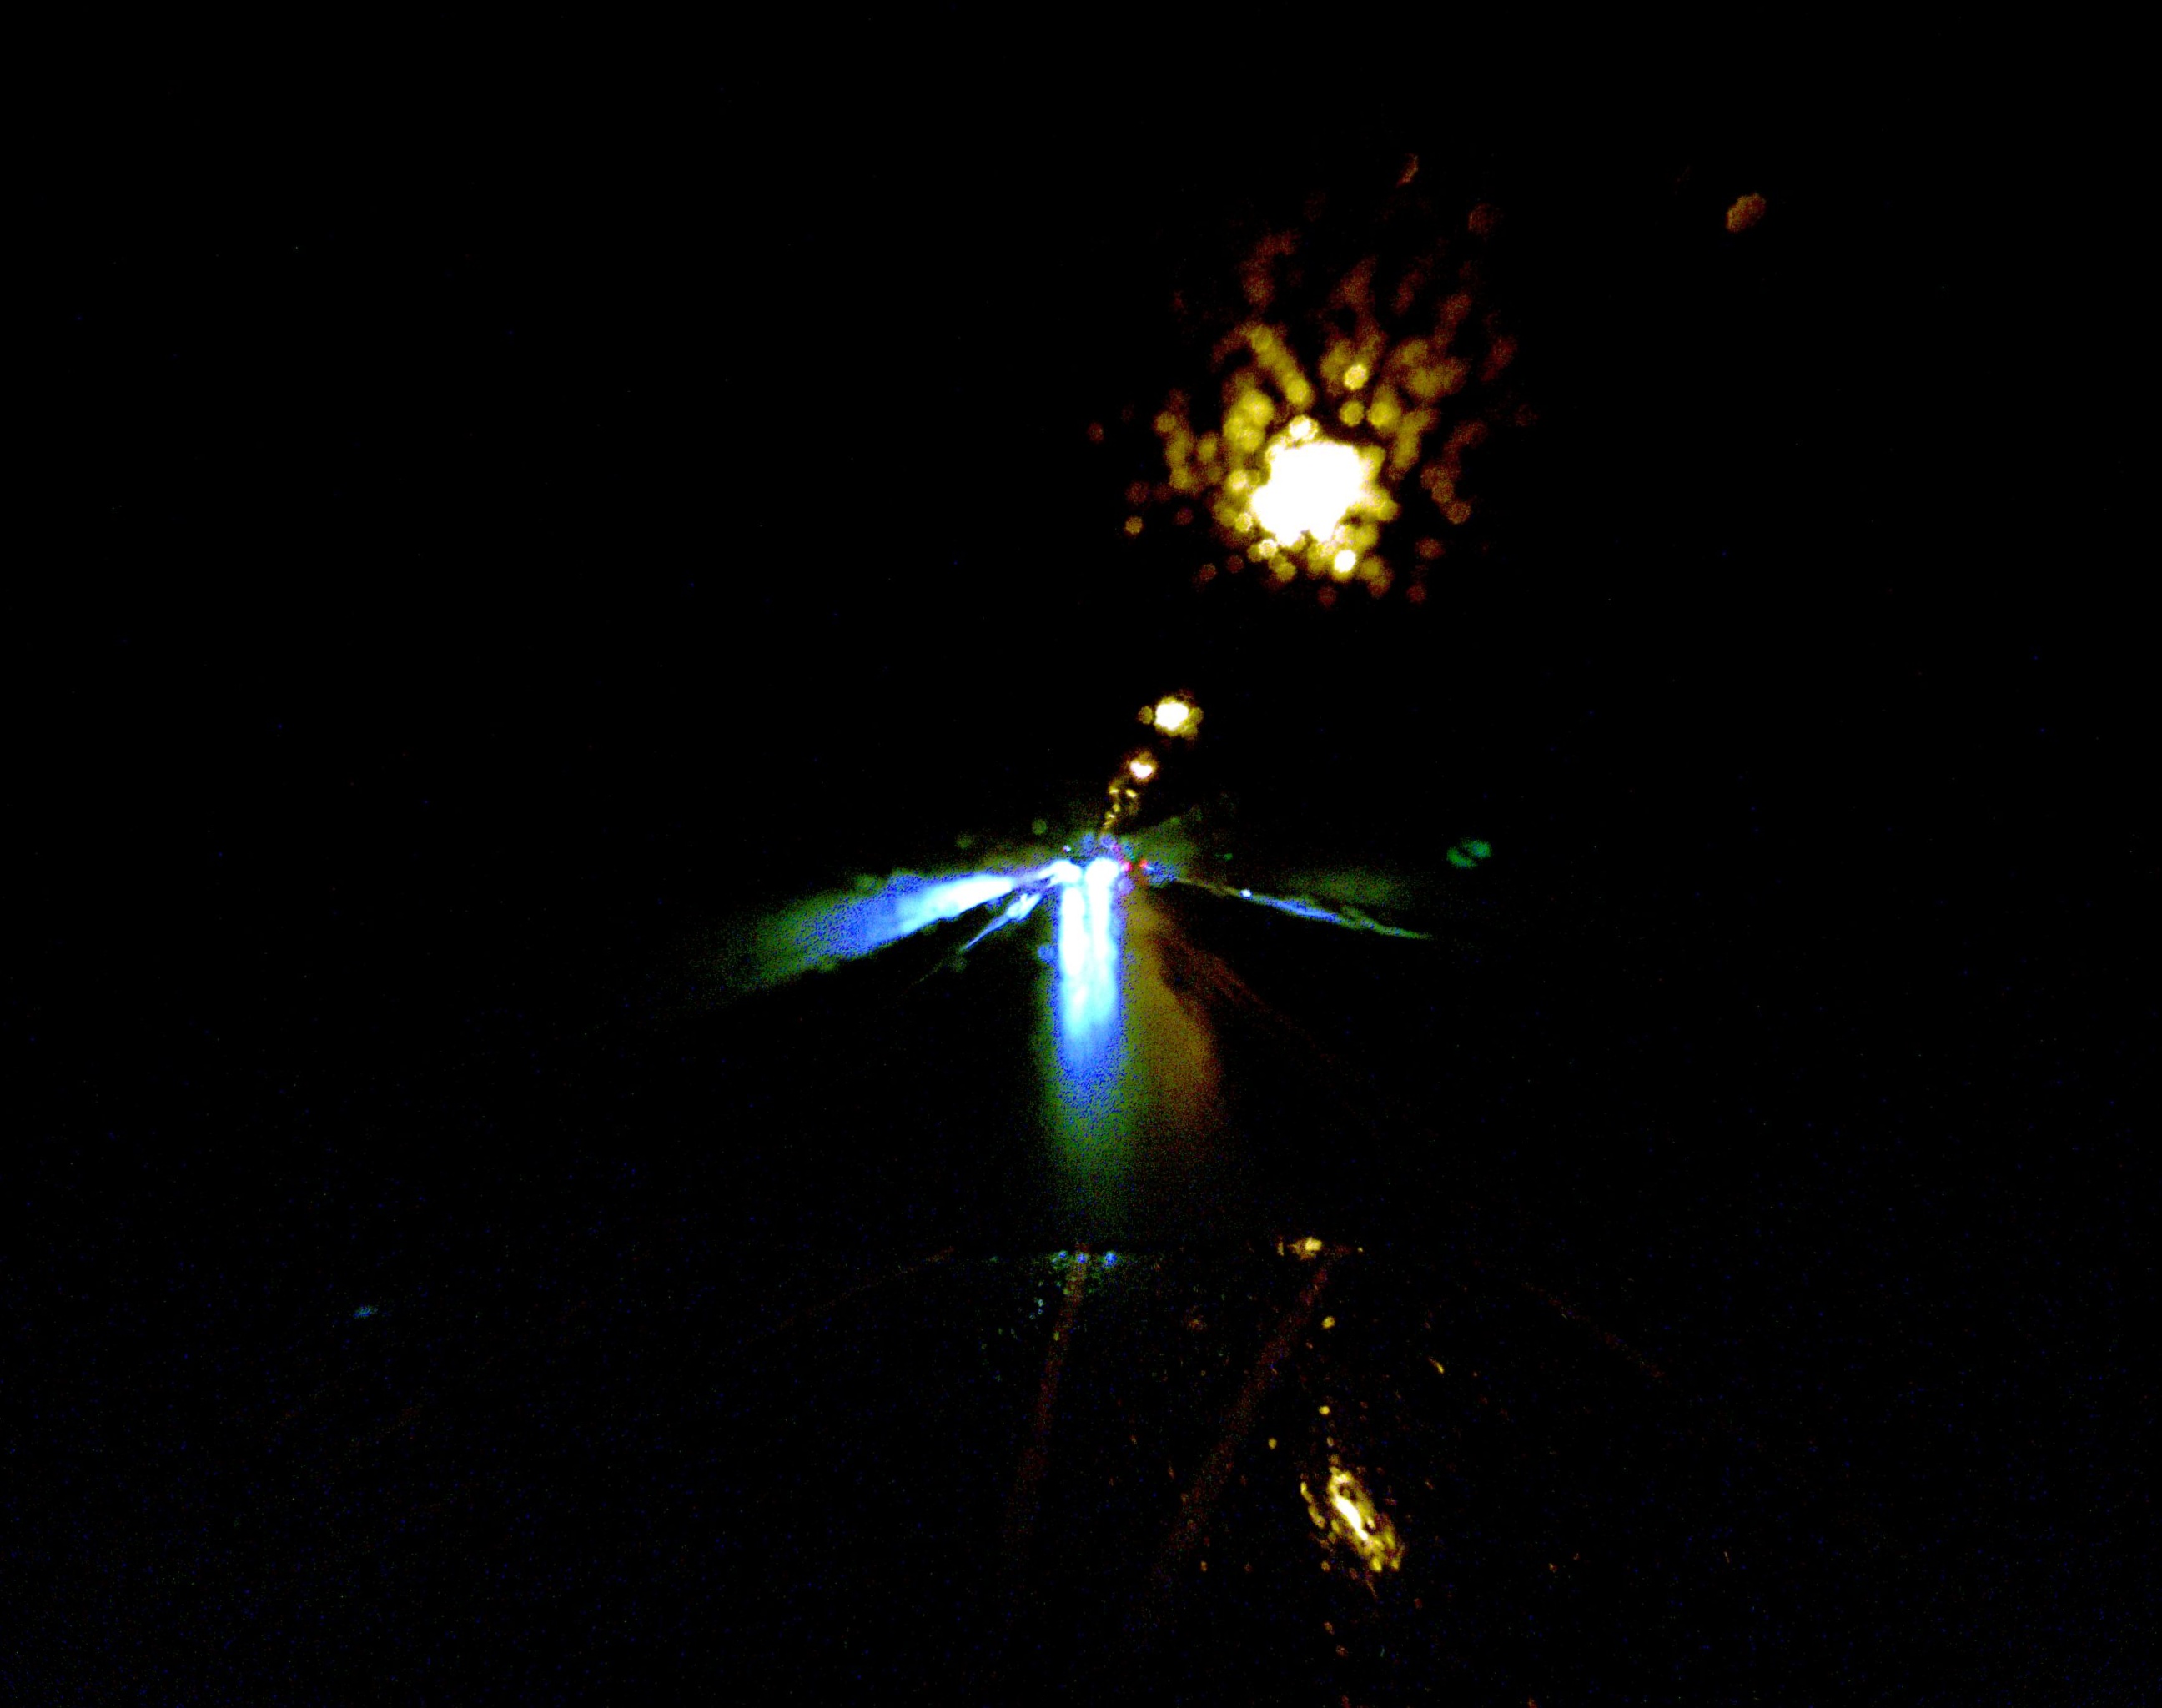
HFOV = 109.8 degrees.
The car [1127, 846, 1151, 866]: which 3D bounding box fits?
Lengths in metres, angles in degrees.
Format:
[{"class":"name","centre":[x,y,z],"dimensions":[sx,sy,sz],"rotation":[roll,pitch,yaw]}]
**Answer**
[{"class":"car","centre":[4.851,0.143,64.471],"dimensions":[1.888,1.595,4.000],"rotation":[-2,1,3]}]

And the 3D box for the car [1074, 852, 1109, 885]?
[{"class":"car","centre":[0.589,0.743,40.626],"dimensions":[1.730,1.595,4.000],"rotation":[-2,1,2]}]
